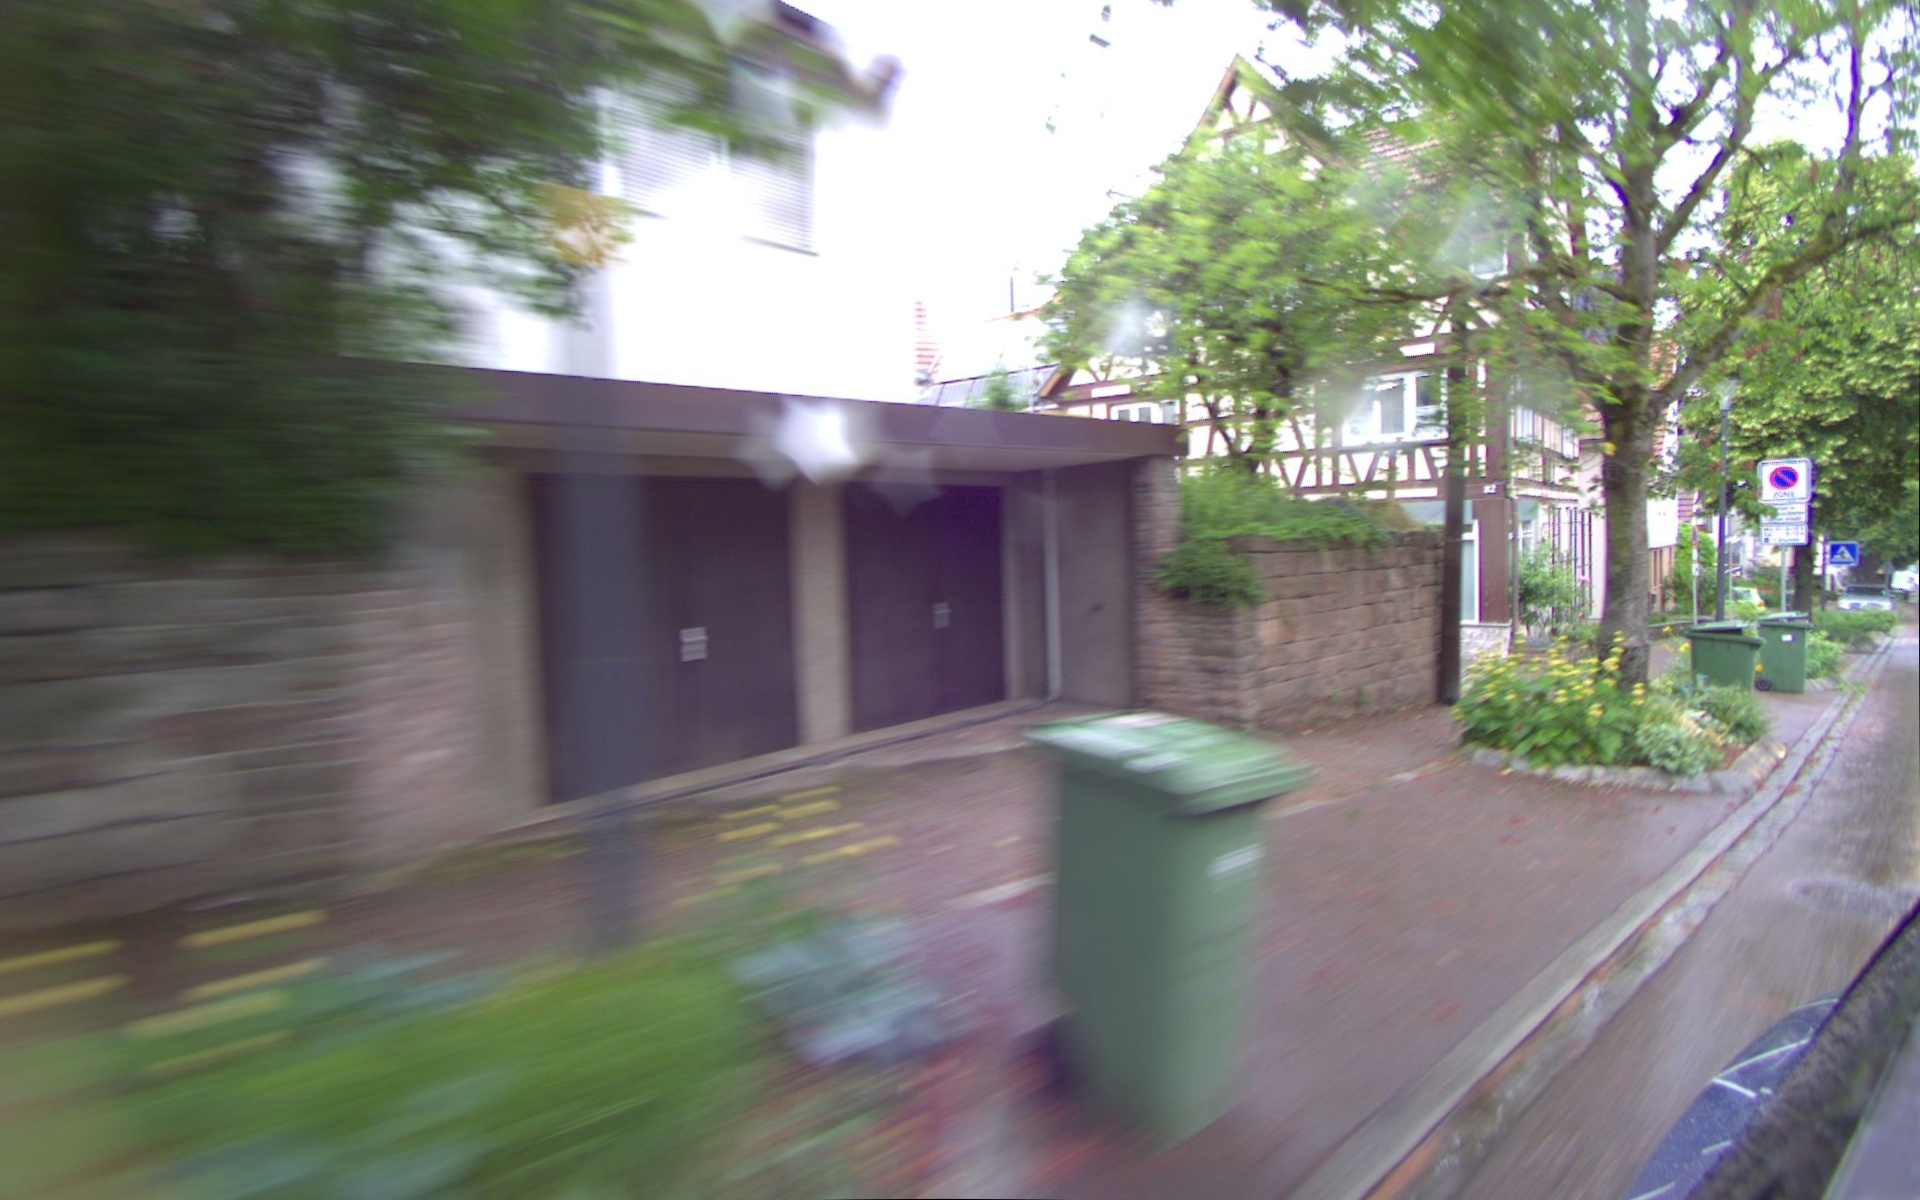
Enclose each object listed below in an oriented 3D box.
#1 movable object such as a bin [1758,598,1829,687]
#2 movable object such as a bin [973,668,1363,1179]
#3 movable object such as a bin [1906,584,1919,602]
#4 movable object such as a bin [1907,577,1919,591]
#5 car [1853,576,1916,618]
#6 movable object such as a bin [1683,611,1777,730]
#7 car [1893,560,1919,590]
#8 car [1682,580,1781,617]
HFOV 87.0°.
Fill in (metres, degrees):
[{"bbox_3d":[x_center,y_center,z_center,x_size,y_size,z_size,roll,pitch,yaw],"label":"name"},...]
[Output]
[{"bbox_3d":[12.100,0.593,14.683,0.715,1.228,0.721,-1,1,-45],"label":"movable object such as a bin"},{"bbox_3d":[0.627,0.829,3.041,0.870,1.120,0.770,-1,3,-45],"label":"movable object such as a bin"},{"bbox_3d":[61.245,-0.448,65.049,0.643,1.096,0.533,1,1,41],"label":"movable object such as a bin"},{"bbox_3d":[75.078,-1.225,79.651,0.797,1.088,0.865,1,2,44],"label":"movable object such as a bin"},{"bbox_3d":[41.658,-0.180,45.592,1.915,1.814,4.416,1,2,45],"label":"car"},{"bbox_3d":[8.085,0.708,10.621,0.723,1.157,0.692,1,1,42],"label":"movable object such as a bin"},{"bbox_3d":[80.906,-2.132,86.066,2.141,2.490,5.349,1,2,44],"label":"car"},{"bbox_3d":[34.552,-0.093,45.367,3.364,1.448,1.606,4,3,42],"label":"car"}]
